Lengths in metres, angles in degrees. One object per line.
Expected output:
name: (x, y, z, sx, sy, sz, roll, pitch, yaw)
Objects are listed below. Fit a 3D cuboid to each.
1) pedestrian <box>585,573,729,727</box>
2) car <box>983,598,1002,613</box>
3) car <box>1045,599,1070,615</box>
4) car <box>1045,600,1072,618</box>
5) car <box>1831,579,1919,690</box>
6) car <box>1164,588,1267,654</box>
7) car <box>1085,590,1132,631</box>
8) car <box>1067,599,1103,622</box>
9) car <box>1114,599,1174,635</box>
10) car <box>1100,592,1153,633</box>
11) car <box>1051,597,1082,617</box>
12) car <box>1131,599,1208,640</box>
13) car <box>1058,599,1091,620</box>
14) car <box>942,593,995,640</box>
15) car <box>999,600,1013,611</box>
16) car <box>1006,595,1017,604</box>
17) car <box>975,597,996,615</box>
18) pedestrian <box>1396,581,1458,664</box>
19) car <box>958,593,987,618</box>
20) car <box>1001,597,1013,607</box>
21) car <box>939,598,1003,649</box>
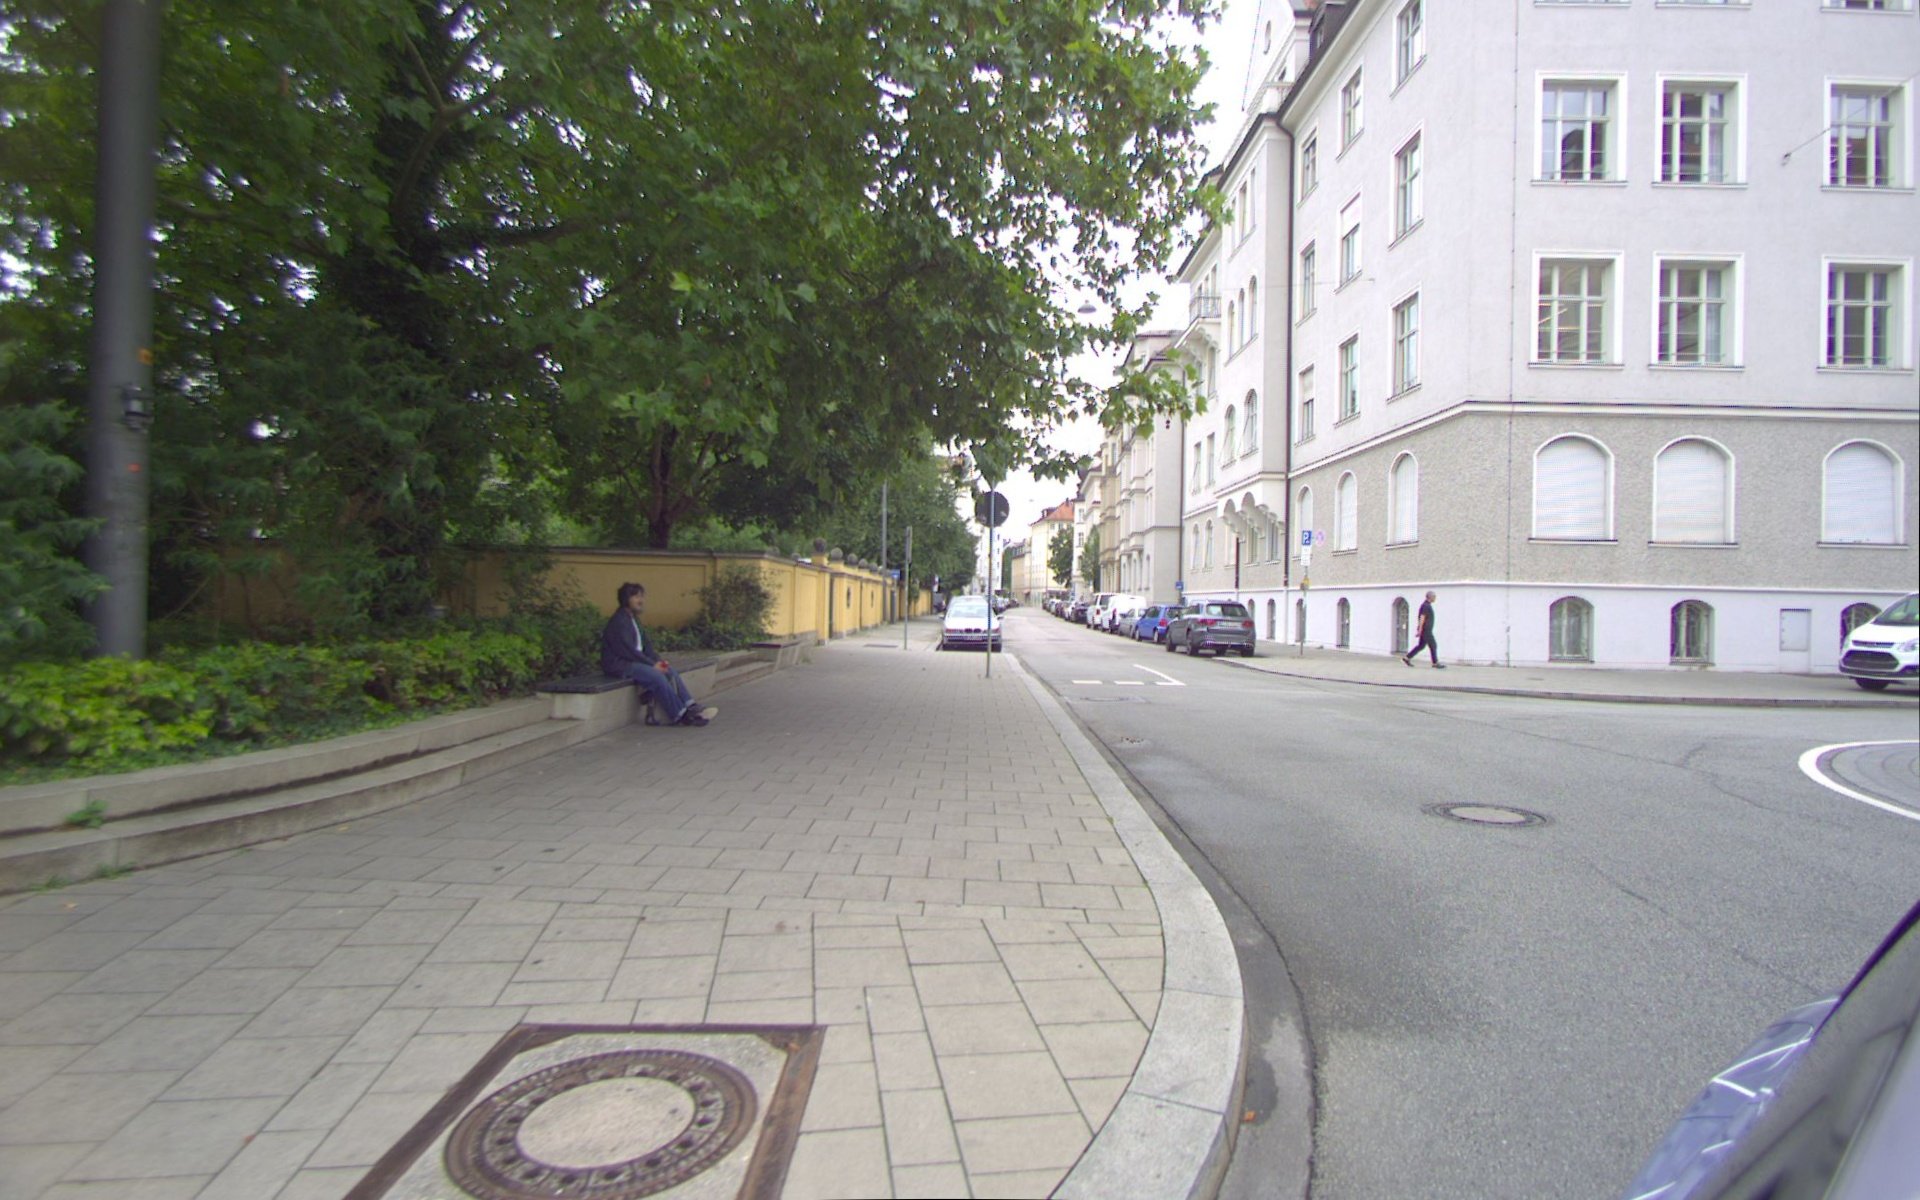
pedestrian: (-2.838, 0.449, 9.568, 1.110, 1.374, 0.771, 1, 0, 1)
car: (3.427, 0.544, 107.591, 1.762, 1.566, 3.611, 1, 0, -1)
car: (8.955, 0.634, 93.026, 1.783, 1.444, 3.841, 1, 0, -2)
car: (8.364, 0.710, 86.245, 1.783, 1.444, 3.841, 1, 0, -2)
car: (19.483, 0.643, 18.583, 5.270, 1.946, 1.946, 1, 1, -1)
car: (7.494, 0.569, 30.161, 1.856, 1.818, 4.252, 1, 0, -2)
car: (7.838, 0.507, 53.801, 1.783, 2.061, 4.036, 1, 0, -2)
car: (8.337, 0.697, 67.615, 1.783, 1.444, 3.841, 1, 0, -2)
car: (7.857, 0.693, 43.463, 1.763, 1.422, 3.841, 1, 0, -2)
car: (7.786, 0.555, 47.613, 1.763, 1.806, 3.841, 1, 0, -2)
car: (7.974, 0.531, 76.248, 1.783, 1.444, 3.841, 1, 0, -2)
car: (7.777, 0.685, 37.953, 1.856, 1.422, 4.252, 1, 0, -2)
car: (8.126, 0.643, 72.014, 1.783, 1.444, 3.841, 1, 0, -2)
car: (0.252, 0.544, 36.371, 1.762, 1.566, 3.958, 1, 0, -1)
car: (6.486, 0.811, 144.220, 1.762, 1.566, 3.611, 1, 0, -1)
car: (9.167, -0.072, 180.699, 1.762, 1.566, 3.611, 1, 0, -1)
car: (2.334, 0.559, 92.851, 1.762, 1.566, 3.611, 1, 0, -1)
pedestrian: (10.473, 0.487, 22.699, 0.982, 1.824, 0.929, 1, 0, -41)
car: (0.792, 0.360, 65.759, 1.762, 1.566, 3.305, 1, 0, -1)
car: (7.866, 0.354, 170.483, 1.762, 1.566, 3.611, 1, 0, -1)
car: (0.290, 0.659, 30.562, 1.767, 1.386, 4.465, 1, 0, 0)
